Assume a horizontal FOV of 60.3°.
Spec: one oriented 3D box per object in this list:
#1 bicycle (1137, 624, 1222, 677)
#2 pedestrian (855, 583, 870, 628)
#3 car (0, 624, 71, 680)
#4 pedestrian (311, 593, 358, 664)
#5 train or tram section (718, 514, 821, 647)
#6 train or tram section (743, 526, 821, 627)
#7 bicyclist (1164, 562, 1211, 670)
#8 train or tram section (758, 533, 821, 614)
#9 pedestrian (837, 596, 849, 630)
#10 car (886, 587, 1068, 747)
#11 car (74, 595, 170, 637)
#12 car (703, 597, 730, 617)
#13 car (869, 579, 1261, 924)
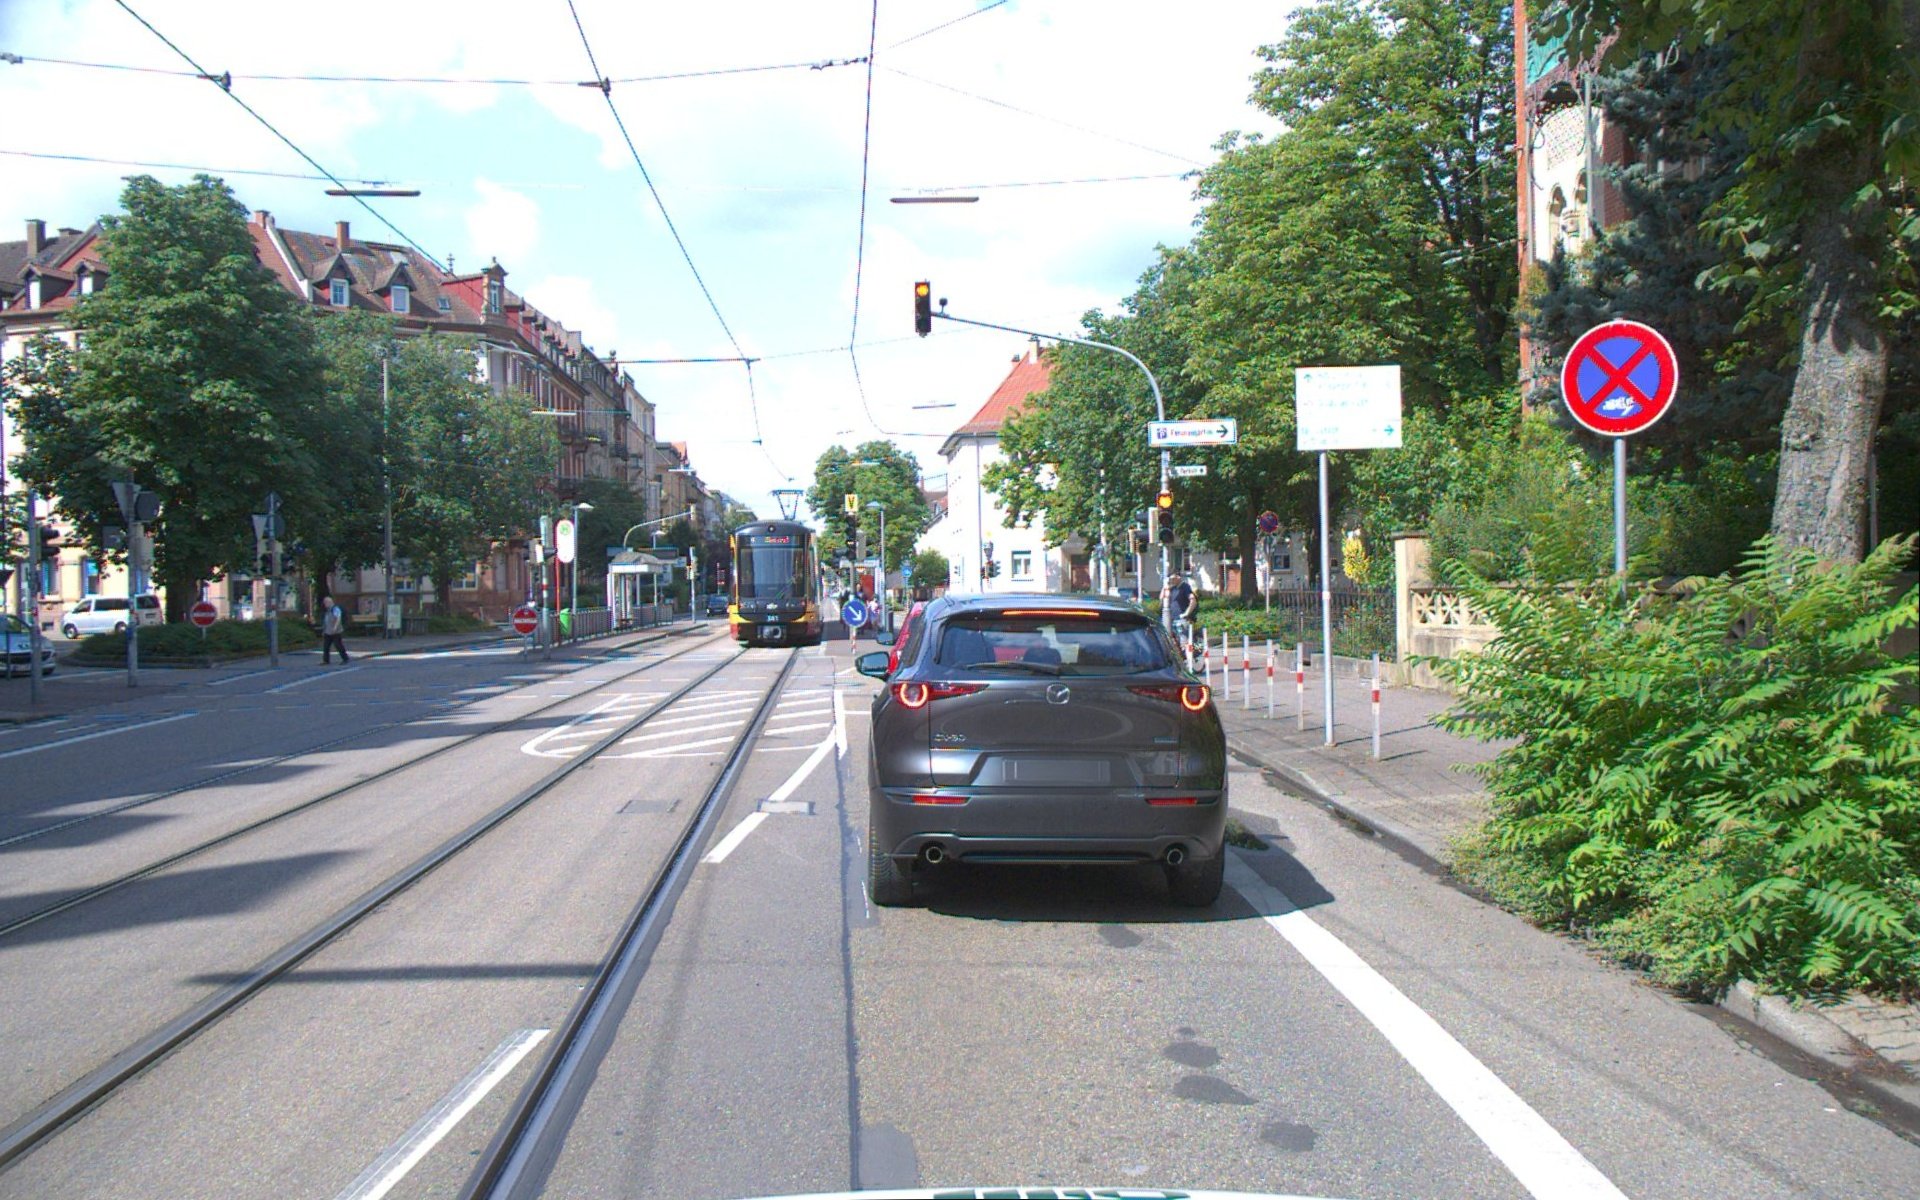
[{"bbox_3d":[3.829,0.863,28.751,1.685,0.838,0.487,-1,0,-43],"label":"bicycle"},{"bbox_3d":[-3.217,0.174,54.477,0.441,1.459,0.474,-1,0,-6],"label":"pedestrian"},{"bbox_3d":[-22.545,1.184,38.422,3.916,1.203,1.674,-1,0,33],"label":"car"},{"bbox_3d":[-15.702,0.712,41.518,0.804,1.735,0.720,-1,0,11],"label":"pedestrian"},{"bbox_3d":[-5.747,-0.680,51.955,2.699,3.551,14.394,-1,1,-5],"label":"train or tram section"},{"bbox_3d":[-6.962,-1.008,66.295,2.699,3.551,14.394,-1,1,-5],"label":"train or tram section"},{"bbox_3d":[3.912,0.276,28.494,0.597,1.824,0.656,-1,0,-11],"label":"bicyclist"},{"bbox_3d":[-8.167,-1.318,80.656,2.699,3.551,14.394,-1,1,-5],"label":"train or tram section"},{"bbox_3d":[-3.838,0.414,54.251,0.372,1.089,0.474,-1,0,-6],"label":"pedestrian"},{"bbox_3d":[0.118,0.637,18.034,1.742,1.526,3.999,1,0,-1],"label":"car"},{"bbox_3d":[-39.812,0.751,78.559,3.906,1.937,1.999,-1,0,23],"label":"car"},{"bbox_3d":[-16.626,0.457,113.105,1.583,1.333,3.624,-1,0,-4],"label":"car"},{"bbox_3d":[0.431,0.671,9.433,1.742,1.526,3.999,1,0,-1],"label":"car"}]
